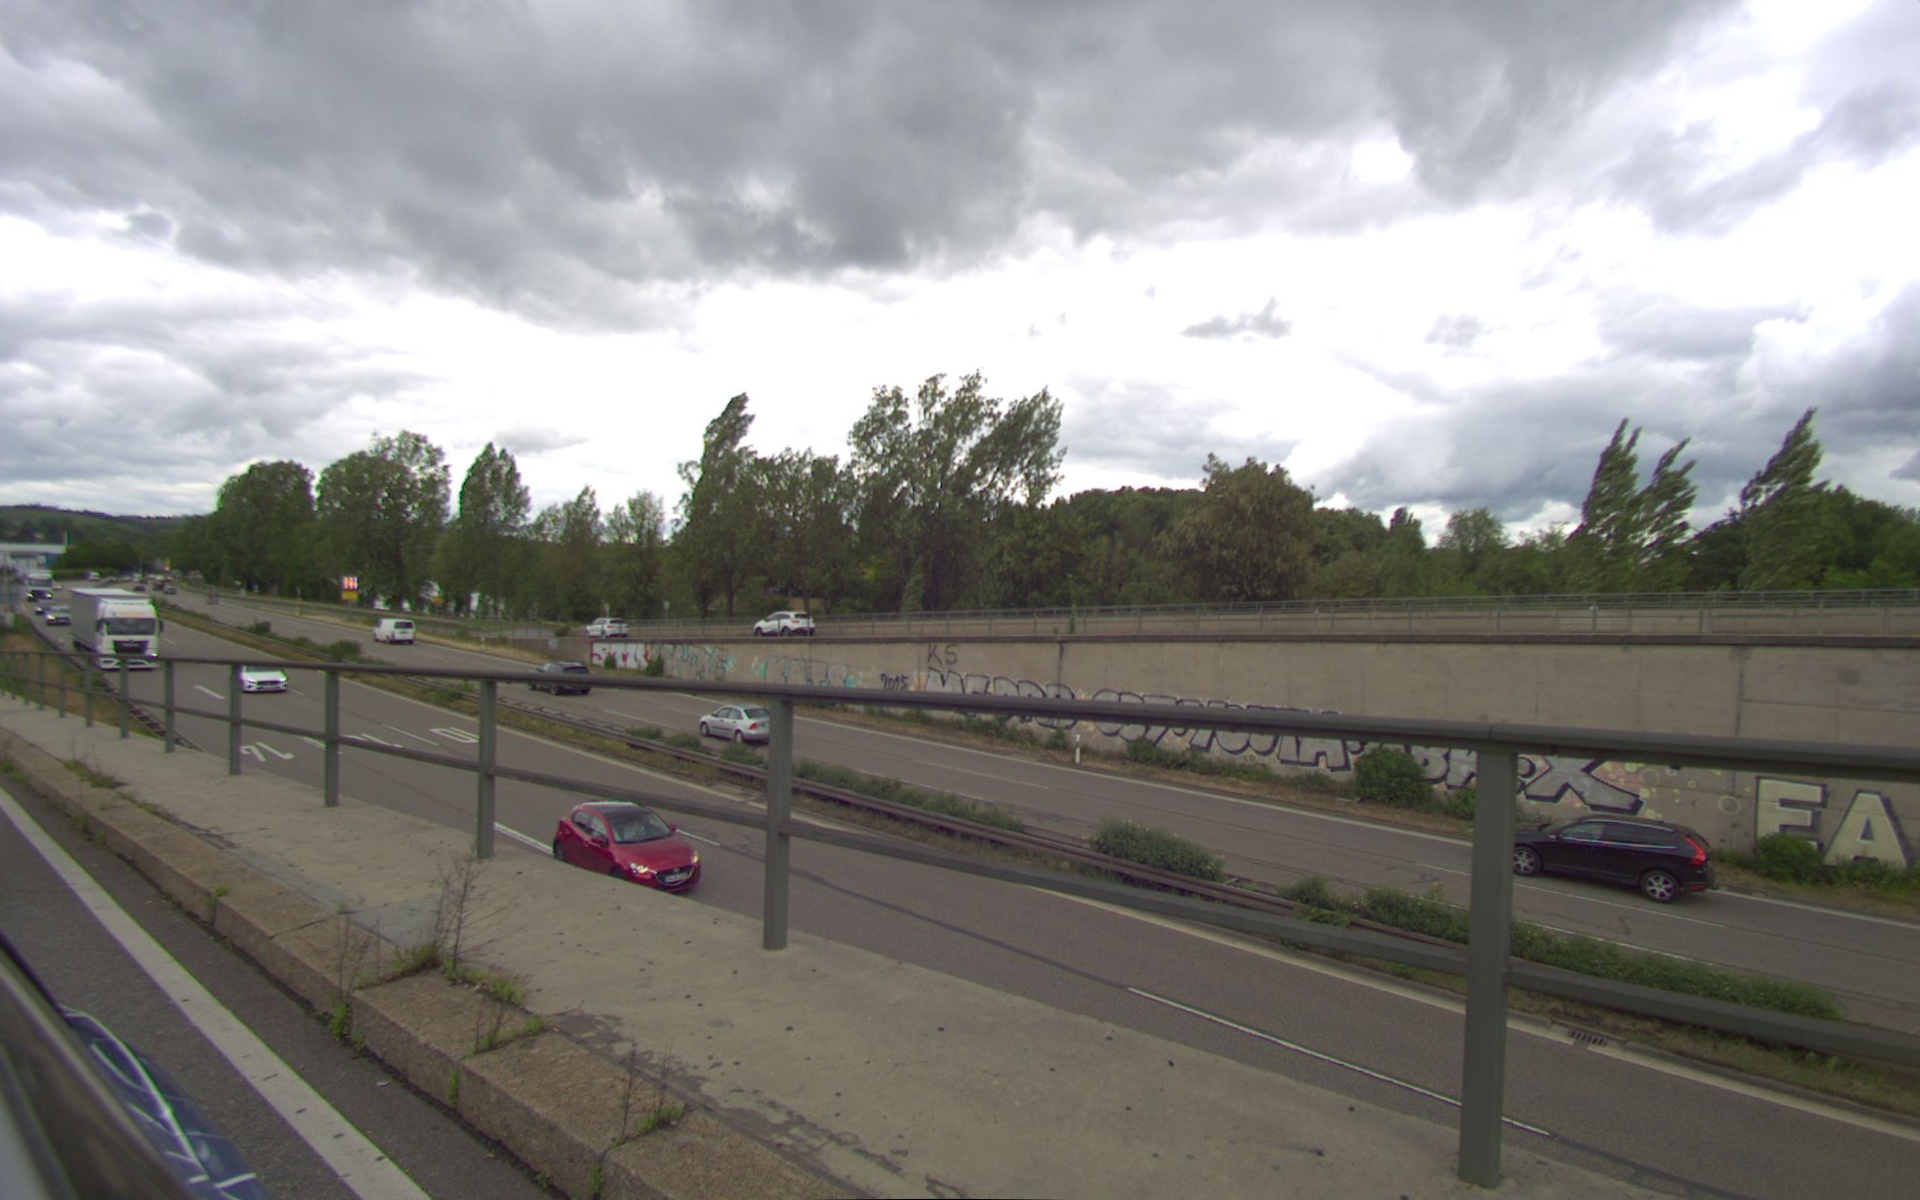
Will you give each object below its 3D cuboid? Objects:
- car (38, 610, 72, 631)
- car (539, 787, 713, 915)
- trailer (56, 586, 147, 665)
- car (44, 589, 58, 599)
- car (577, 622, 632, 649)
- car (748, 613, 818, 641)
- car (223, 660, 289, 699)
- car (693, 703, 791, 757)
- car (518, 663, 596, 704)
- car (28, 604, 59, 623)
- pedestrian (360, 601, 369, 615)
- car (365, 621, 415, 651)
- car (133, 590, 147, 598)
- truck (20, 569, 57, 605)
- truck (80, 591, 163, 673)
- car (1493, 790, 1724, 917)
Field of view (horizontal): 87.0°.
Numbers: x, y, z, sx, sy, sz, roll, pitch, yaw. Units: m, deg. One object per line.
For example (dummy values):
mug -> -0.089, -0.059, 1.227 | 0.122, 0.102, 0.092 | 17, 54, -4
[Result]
car -> -79.114, 1.736, 88.426 | 4.166, 1.619, 1.834 | 2, 1, 43
car -> -7.098, 5.156, 21.301 | 4.167, 1.451, 1.732 | 4, 3, 44
trailer -> -53.769, 1.423, 63.193 | 13.152, 4.283, 2.721 | 2, 0, 43
car -> -172.143, -1.141, 191.731 | 1.832, 1.619, 4.170 | 3, -1, -43
car -> -26.077, 2.620, 74.241 | 4.211, 1.884, 1.973 | -2, -1, 41
car -> -10.466, 1.579, 59.542 | 4.346, 1.588, 1.812 | -2, -1, 43
car -> -34.801, 3.868, 50.001 | 4.279, 1.429, 1.894 | 3, 2, 44
car -> -8.752, 5.129, 40.416 | 4.085, 1.539, 1.710 | 2, 1, 41
car -> -21.431, 4.393, 53.777 | 4.550, 1.751, 1.896 | 2, 0, 40
car -> -92.718, 1.372, 102.396 | 4.166, 1.619, 1.834 | 2, -3, 43
pedestrian -> -80.518, 1.077, 136.818 | 1.078, 1.718, 0.820 | 3, 2, 43
car -> -46.590, 2.901, 82.673 | 5.177, 2.082, 1.972 | 2, 1, 42
car -> -167.467, -1.208, 206.582 | 3.859, 1.512, 1.645 | 3, 0, 43
truck -> -123.624, -1.763, 135.677 | 11.131, 4.559, 3.136 | 3, 1, 45
truck -> -47.849, 1.725, 57.688 | 6.699, 4.283, 2.721 | 2, 0, 43
car -> 15.445, 5.934, 24.225 | 4.408, 1.855, 1.911 | 2, 1, 41
